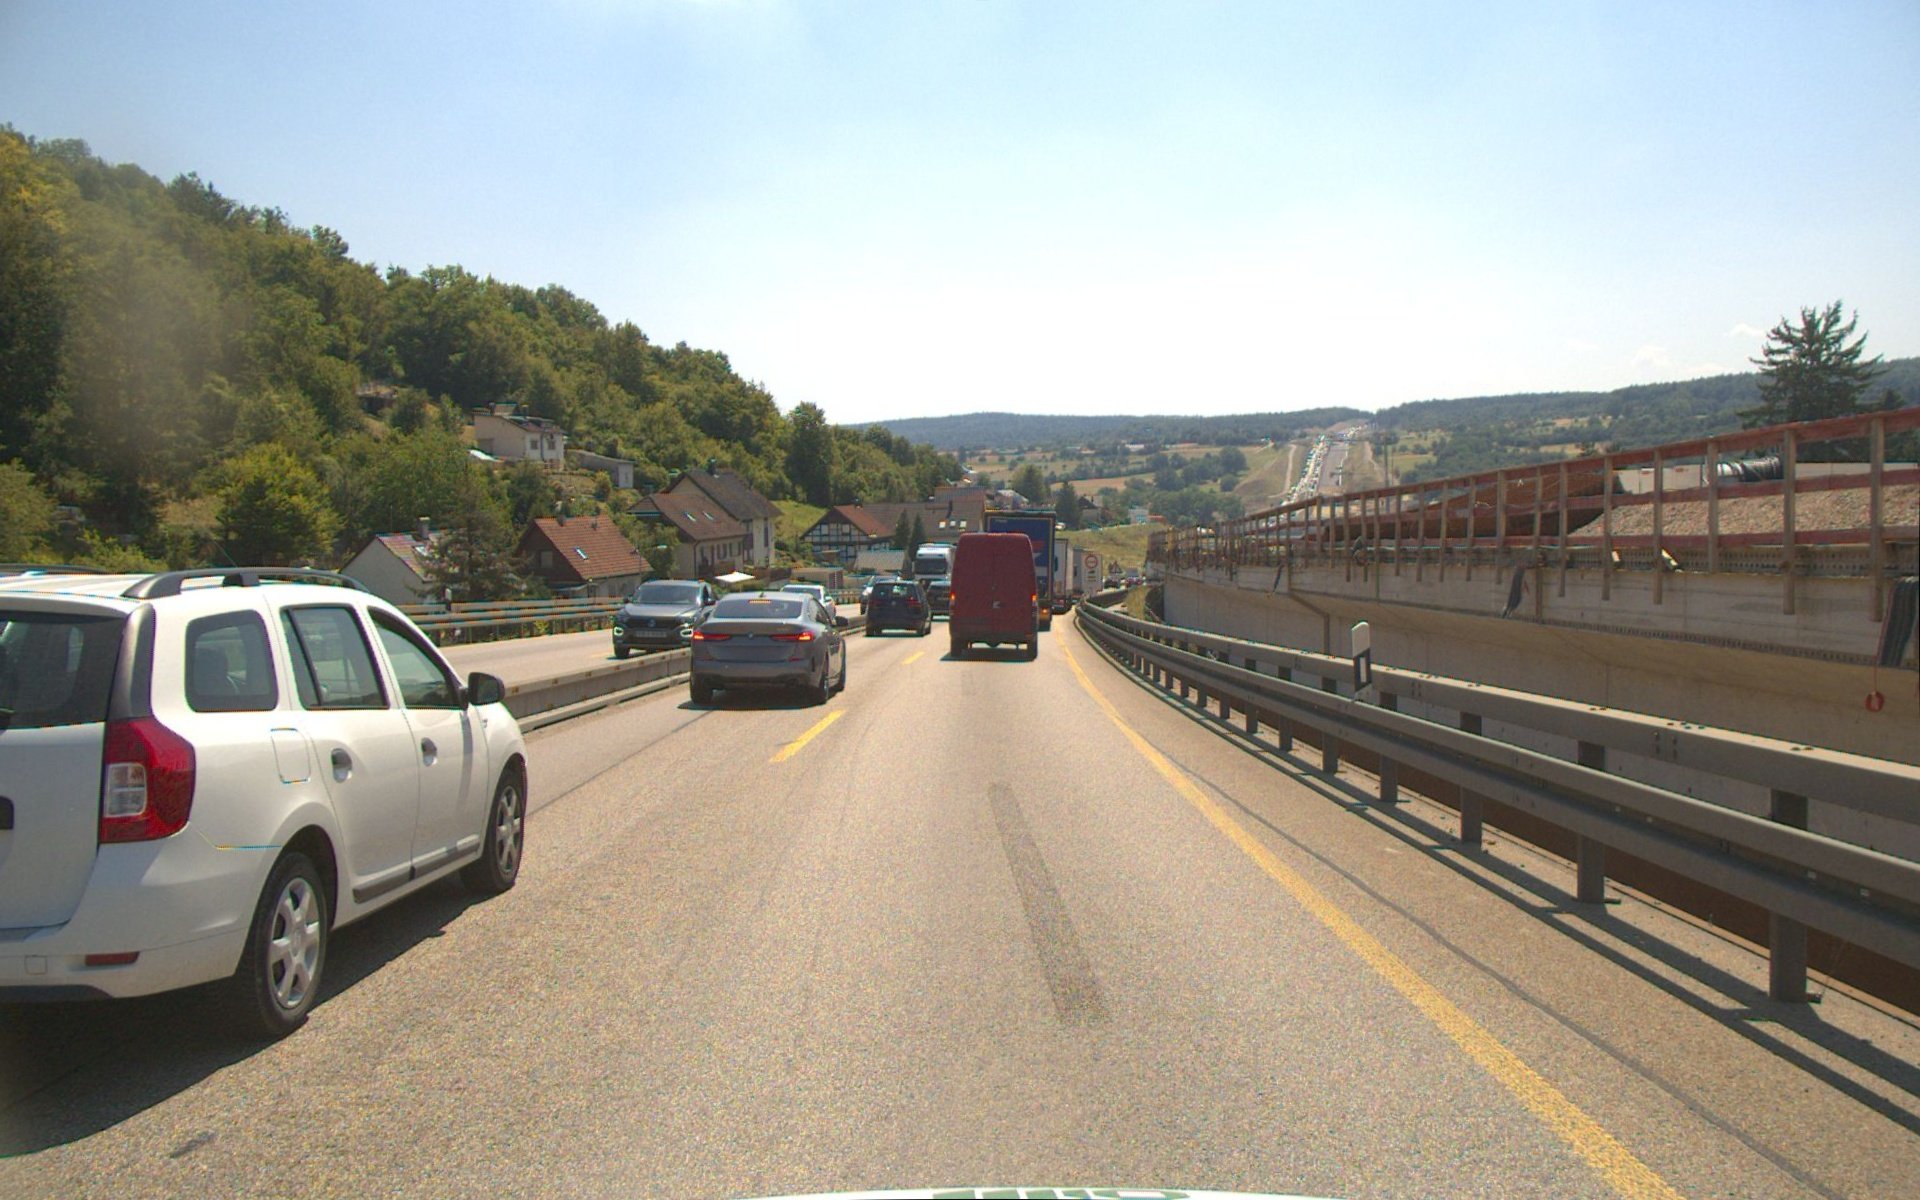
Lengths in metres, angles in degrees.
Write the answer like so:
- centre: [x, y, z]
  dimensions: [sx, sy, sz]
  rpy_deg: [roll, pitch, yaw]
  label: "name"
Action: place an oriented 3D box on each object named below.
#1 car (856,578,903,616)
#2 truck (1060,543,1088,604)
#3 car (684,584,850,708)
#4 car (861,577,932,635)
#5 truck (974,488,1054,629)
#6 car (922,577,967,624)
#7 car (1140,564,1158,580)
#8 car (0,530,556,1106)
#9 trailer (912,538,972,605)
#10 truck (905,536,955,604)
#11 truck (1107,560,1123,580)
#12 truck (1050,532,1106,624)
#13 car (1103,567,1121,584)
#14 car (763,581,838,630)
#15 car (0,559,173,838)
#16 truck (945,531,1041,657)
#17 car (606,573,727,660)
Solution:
- centre: [-3.788, -0.166, 78.504]
  dimensions: [1.872, 1.735, 4.737]
  rpy_deg: [1, 0, 1]
  label: "car"
- centre: [8.567, -1.922, 123.711]
  dimensions: [1.951, 4.458, 4.002]
  rpy_deg: [1, 0, 5]
  label: "truck"
- centre: [-2.517, 0.549, 22.452]
  dimensions: [1.758, 1.511, 4.050]
  rpy_deg: [1, 0, 0]
  label: "car"
- centre: [-1.887, 0.184, 50.066]
  dimensions: [1.772, 1.636, 3.720]
  rpy_deg: [1, 0, 3]
  label: "car"
- centre: [2.069, -1.428, 62.924]
  dimensions: [2.728, 4.900, 9.687]
  rpy_deg: [1, 0, 2]
  label: "truck"
- centre: [-0.625, 0.043, 68.830]
  dimensions: [1.693, 1.870, 4.001]
  rpy_deg: [1, 0, 2]
  label: "car"
- centre: [25.563, -3.806, 223.940]
  dimensions: [2.086, 2.049, 4.003]
  rpy_deg: [1, 0, 11]
  label: "car"
- centre: [-2.940, 0.592, 6.490]
  dimensions: [1.618, 1.509, 4.266]
  rpy_deg: [-1, 0, 0]
  label: "car"
- centre: [-1.311, -2.152, 131.851]
  dimensions: [2.999, 4.900, 14.011]
  rpy_deg: [1, 0, 6]
  label: "trailer"
- centre: [-2.218, -2.208, 124.105]
  dimensions: [2.995, 4.906, 4.649]
  rpy_deg: [1, 0, 8]
  label: "truck"
- centre: [12.961, -2.480, 138.628]
  dimensions: [1.286, 1.569, 3.153]
  rpy_deg: [1, 0, 6]
  label: "truck"
- centre: [6.631, -1.175, 94.227]
  dimensions: [2.728, 4.900, 9.687]
  rpy_deg: [1, 0, 2]
  label: "truck"
- centre: [19.291, -3.044, 209.341]
  dimensions: [1.765, 2.048, 4.004]
  rpy_deg: [2, 1, 11]
  label: "car"
- centre: [-5.179, 0.160, 54.143]
  dimensions: [1.872, 1.512, 4.478]
  rpy_deg: [1, 1, 1]
  label: "car"
- centre: [-6.269, 0.543, 9.341]
  dimensions: [1.694, 1.578, 4.035]
  rpy_deg: [1, 0, 0]
  label: "car"
- centre: [0.794, -0.119, 36.945]
  dimensions: [1.952, 2.623, 4.001]
  rpy_deg: [1, 0, 3]
  label: "truck"
- centre: [-6.029, 0.308, 34.385]
  dimensions: [1.703, 1.670, 4.001]
  rpy_deg: [1, 0, 1]
  label: "car"
